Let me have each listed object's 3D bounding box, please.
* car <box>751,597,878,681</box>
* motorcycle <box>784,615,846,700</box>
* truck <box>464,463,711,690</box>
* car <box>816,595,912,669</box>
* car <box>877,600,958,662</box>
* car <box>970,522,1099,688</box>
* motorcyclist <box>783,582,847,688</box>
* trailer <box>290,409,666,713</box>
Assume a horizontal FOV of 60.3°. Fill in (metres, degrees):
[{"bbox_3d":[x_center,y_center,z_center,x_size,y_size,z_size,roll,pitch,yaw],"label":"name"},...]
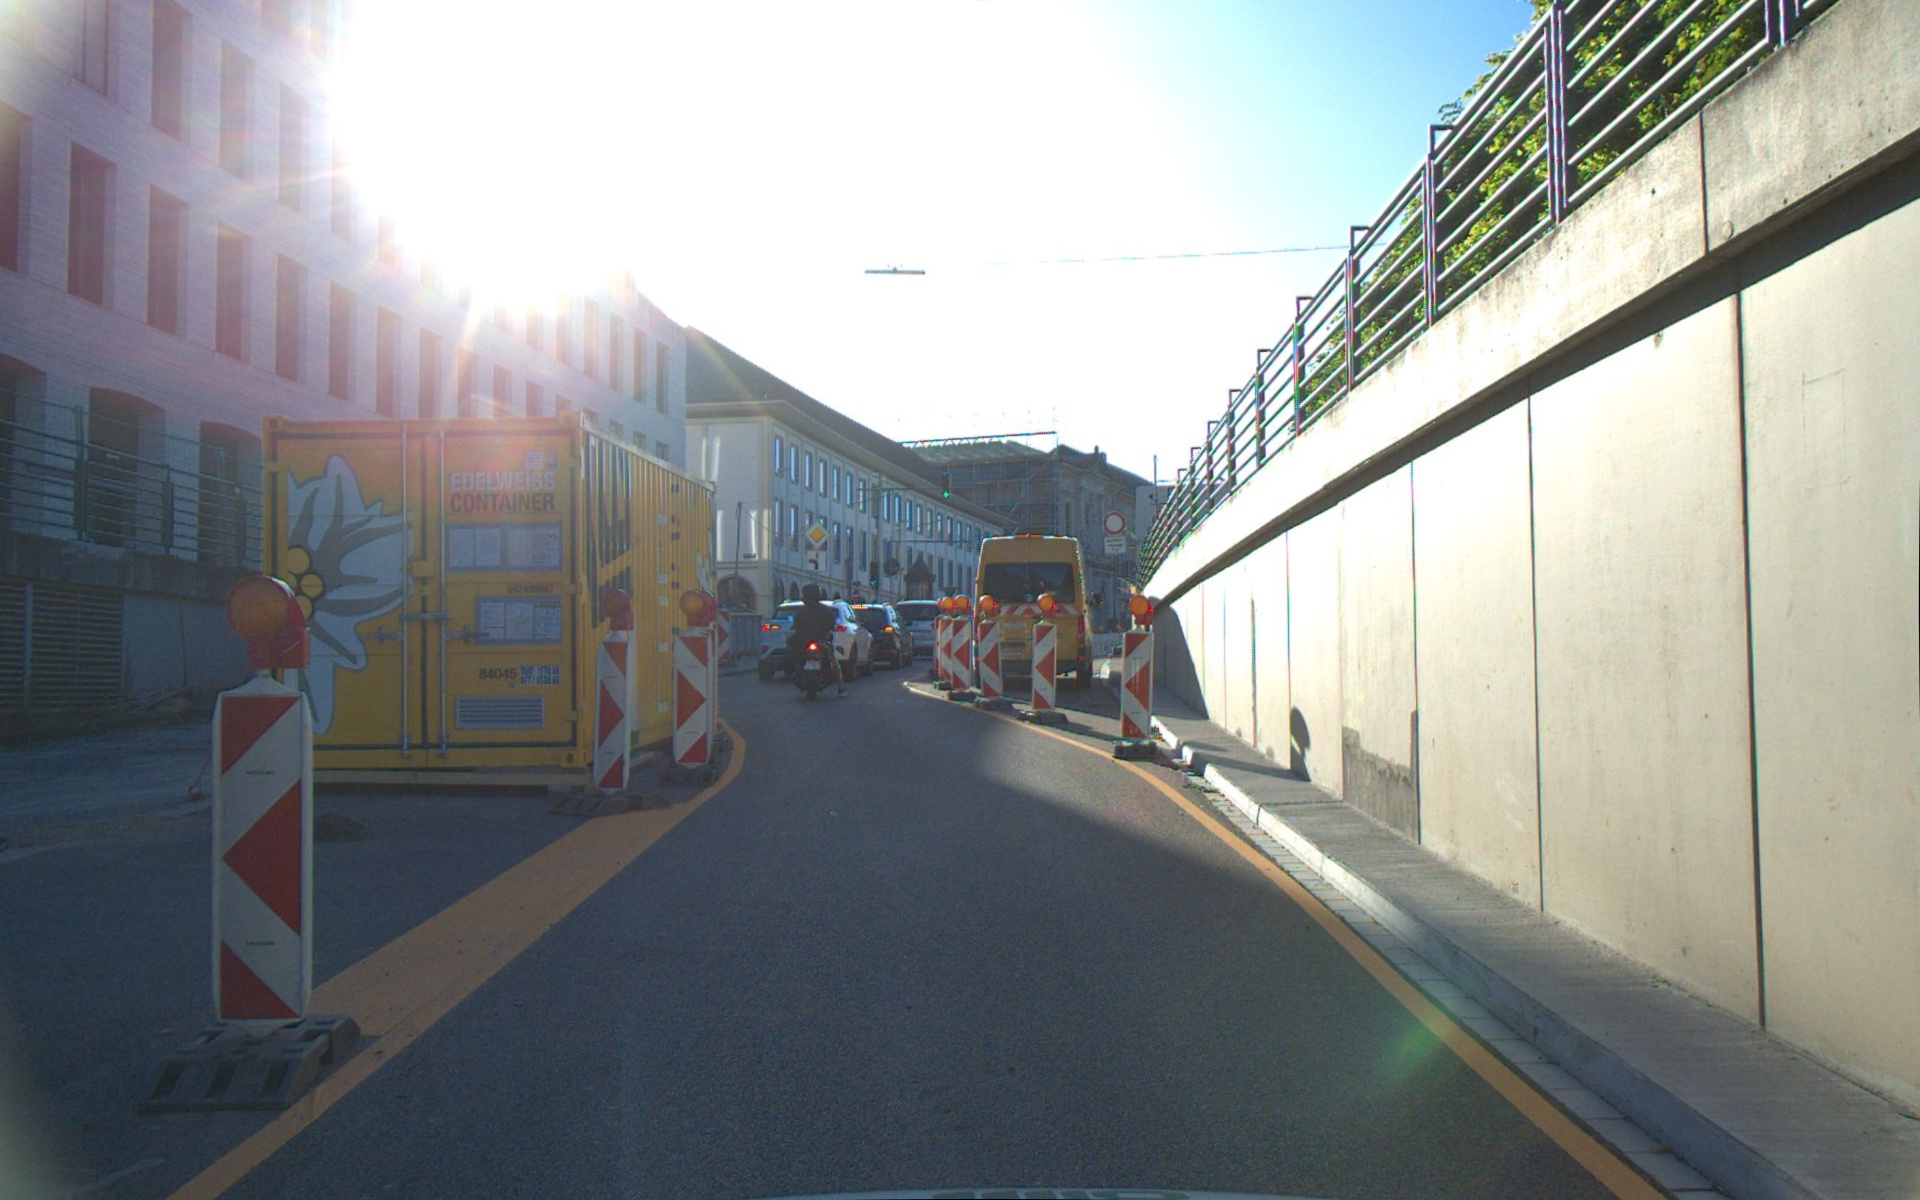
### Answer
[{"bbox_3d":[-2.737,0.747,31.957,1.820,1.498,4.001,1,-1,4],"label":"car"},{"bbox_3d":[-2.223,0.852,25.360,0.888,1.204,2.576,0,0,-5],"label":"motorcycle"},{"bbox_3d":[-6.590,-0.364,30.157,2.525,3.550,5.819,-4,-1,5],"label":"truck"},{"bbox_3d":[-2.175,0.782,38.305,1.737,1.578,4.107,-1,-2,3],"label":"car"},{"bbox_3d":[-1.194,0.875,48.513,1.765,1.751,4.166,0,0,7],"label":"car"},{"bbox_3d":[1.394,0.109,30.302,2.068,2.671,6.989,-1,-1,3],"label":"car"},{"bbox_3d":[-2.222,0.518,25.327,0.935,1.587,1.237,0,0,-5],"label":"motorcyclist"},{"bbox_3d":[-7.020,-0.468,25.766,2.587,3.732,8.752,-4,-1,3],"label":"trailer"}]
